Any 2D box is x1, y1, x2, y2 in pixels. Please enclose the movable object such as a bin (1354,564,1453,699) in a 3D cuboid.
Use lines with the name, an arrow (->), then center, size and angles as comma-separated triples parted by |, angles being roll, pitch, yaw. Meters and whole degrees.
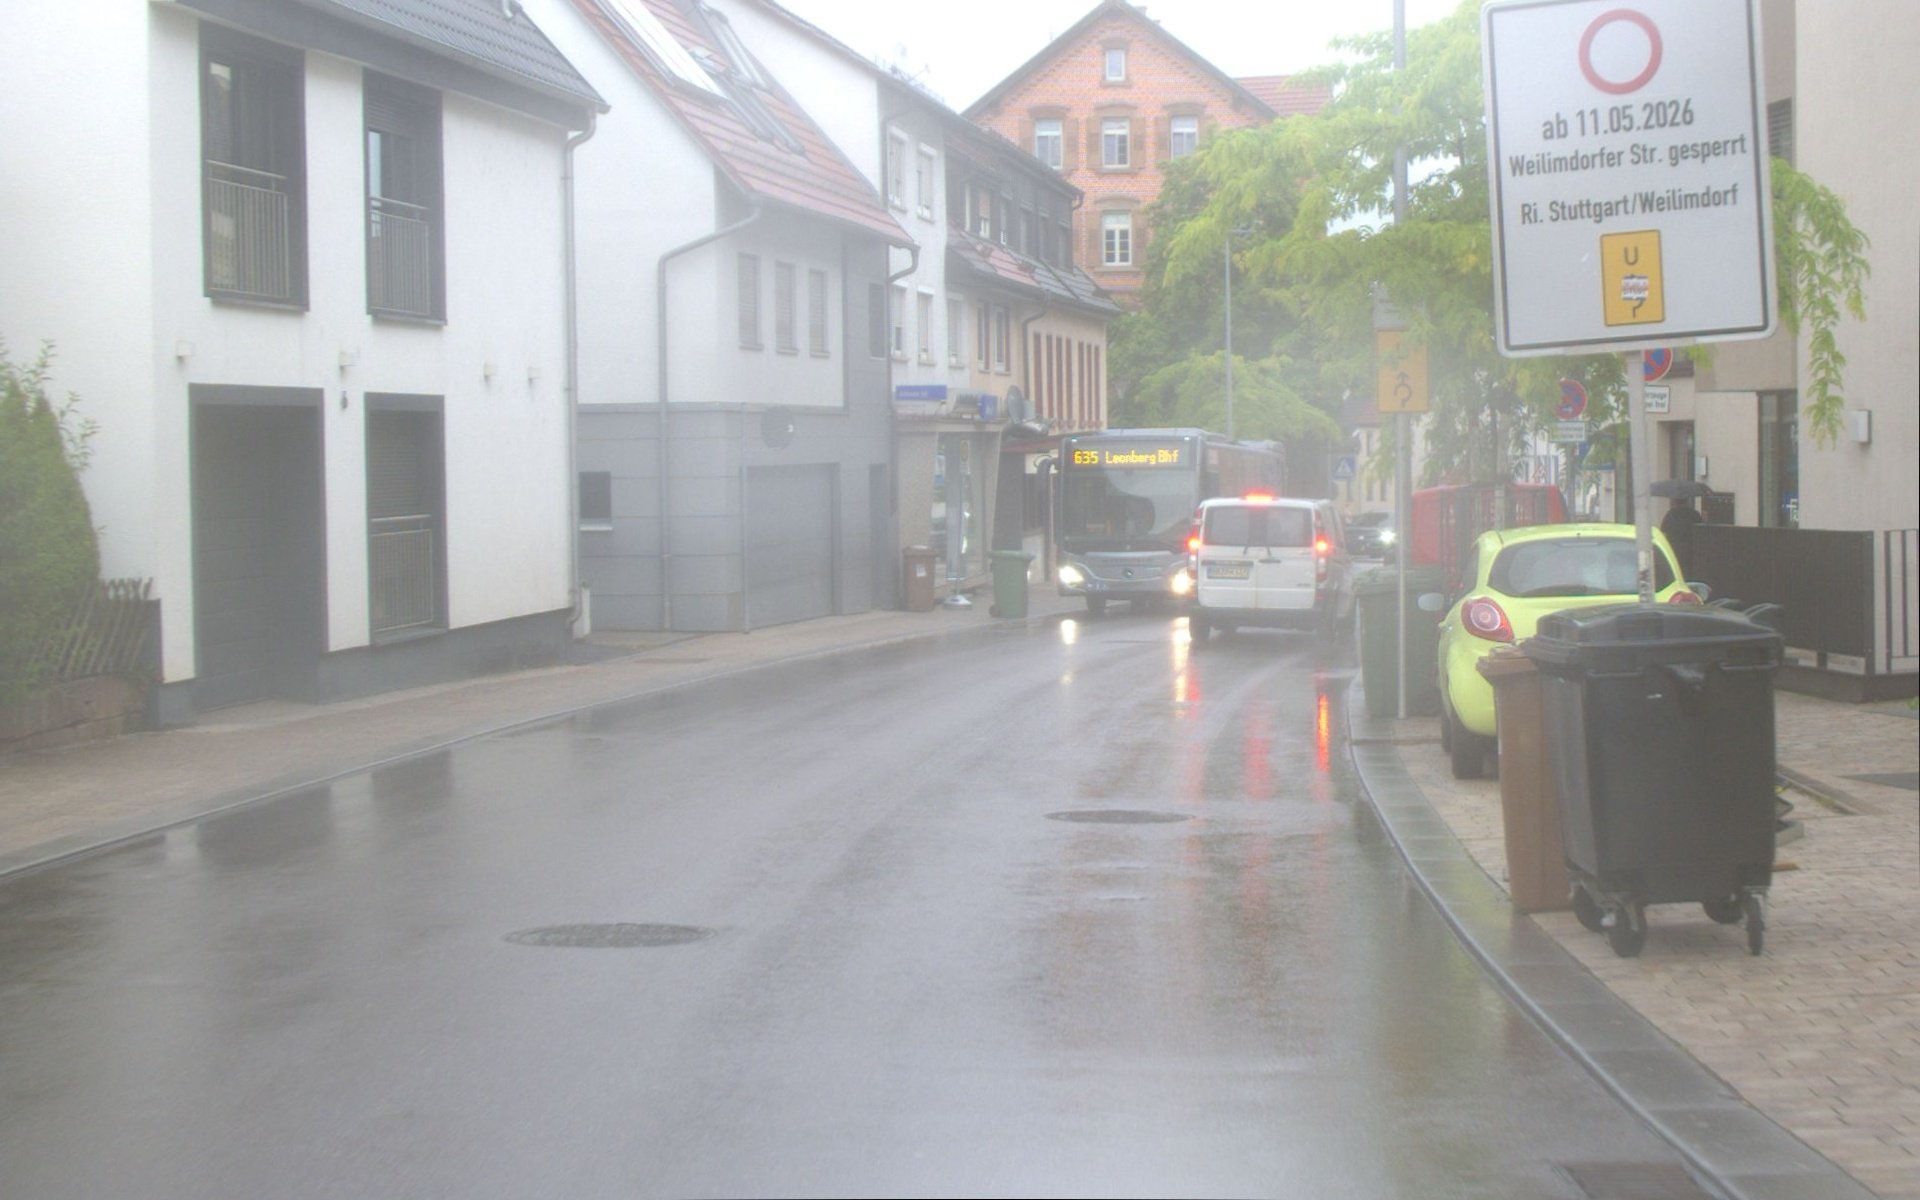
movable object such as a bin -> 3.734, 0.258, 28.921 | 0.810, 1.105, 0.985 | 0, 1, 8

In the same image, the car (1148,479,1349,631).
car -> 3.853, -0.604, 45.213 | 2.196, 1.845, 4.302 | -1, 1, 10

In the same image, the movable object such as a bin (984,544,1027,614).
movable object such as a bin -> 0.734, -0.338, 55.118 | 0.634, 1.118, 0.519 | 0, 1, 6

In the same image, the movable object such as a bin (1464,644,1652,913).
movable object such as a bin -> 2.394, 0.706, 13.799 | 0.706, 1.042, 0.517 | 0, 1, 7

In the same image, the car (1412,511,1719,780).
car -> 3.736, 0.226, 21.654 | 1.603, 1.479, 3.301 | -3, 1, 6

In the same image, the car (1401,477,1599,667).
car -> 5.404, -0.285, 34.072 | 1.712, 1.756, 3.998 | 0, 1, 12

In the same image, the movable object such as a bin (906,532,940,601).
movable object such as a bin -> -0.607, -0.556, 56.583 | 0.518, 1.118, 0.635 | 0, 1, 1

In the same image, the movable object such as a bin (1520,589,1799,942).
movable object such as a bin -> 2.476, 0.556, 12.319 | 0.767, 1.169, 1.541 | 0, 1, 4

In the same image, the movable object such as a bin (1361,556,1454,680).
movable object such as a bin -> 4.040, 0.156, 31.023 | 0.810, 1.105, 0.985 | 0, 0, 8

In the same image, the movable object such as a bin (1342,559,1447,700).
movable object such as a bin -> 3.495, 0.229, 27.627 | 0.810, 1.105, 0.985 | 0, 1, 8

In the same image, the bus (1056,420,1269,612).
bus -> 3.722, -1.558, 61.013 | 2.741, 3.119, 9.231 | 0, 2, 10
